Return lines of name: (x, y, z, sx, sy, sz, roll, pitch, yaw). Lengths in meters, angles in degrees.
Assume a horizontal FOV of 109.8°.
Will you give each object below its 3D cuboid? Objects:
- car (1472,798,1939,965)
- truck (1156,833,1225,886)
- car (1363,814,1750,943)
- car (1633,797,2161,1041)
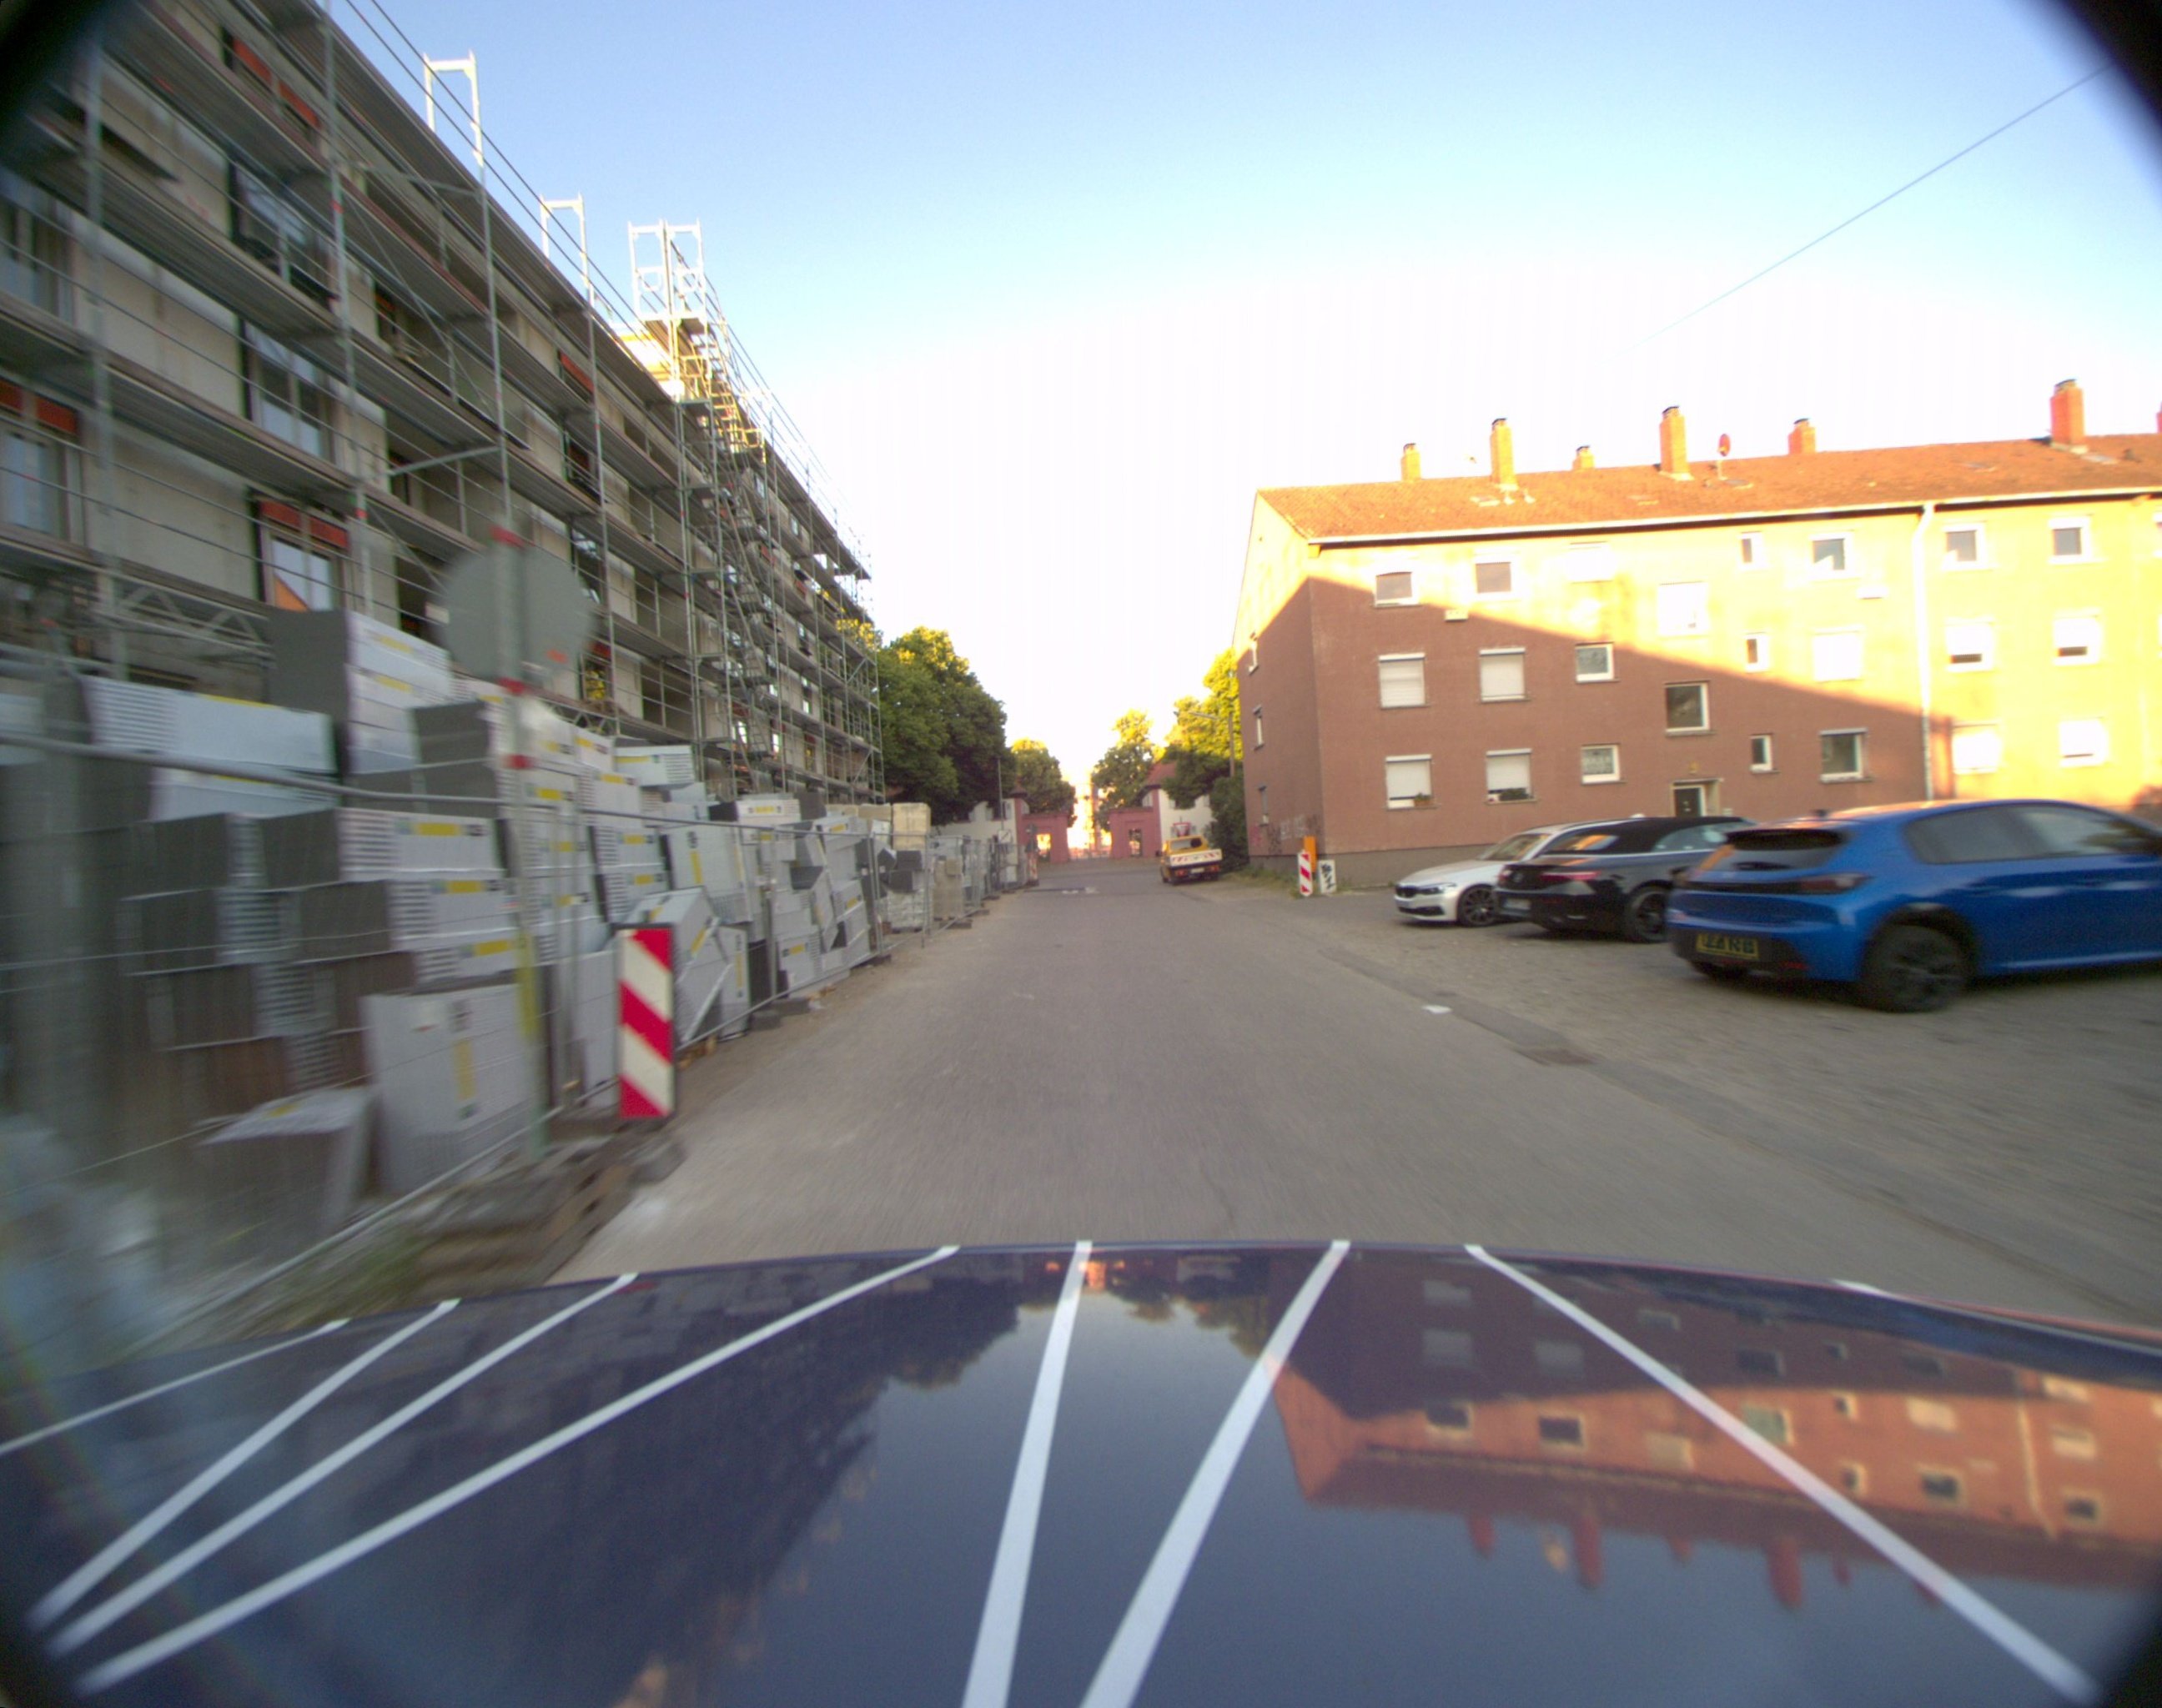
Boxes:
car: (7.561, 0.298, 9.477, 4.428, 1.535, 1.727, -5, 1, -3)
truck: (4.538, 0.190, 32.378, 2.039, 1.902, 5.660, -5, 1, 1)
car: (7.574, 0.352, 12.462, 5.007, 1.535, 2.115, -5, 1, -3)
car: (6.942, 0.399, 6.005, 3.846, 1.421, 1.727, -4, 1, -1)
